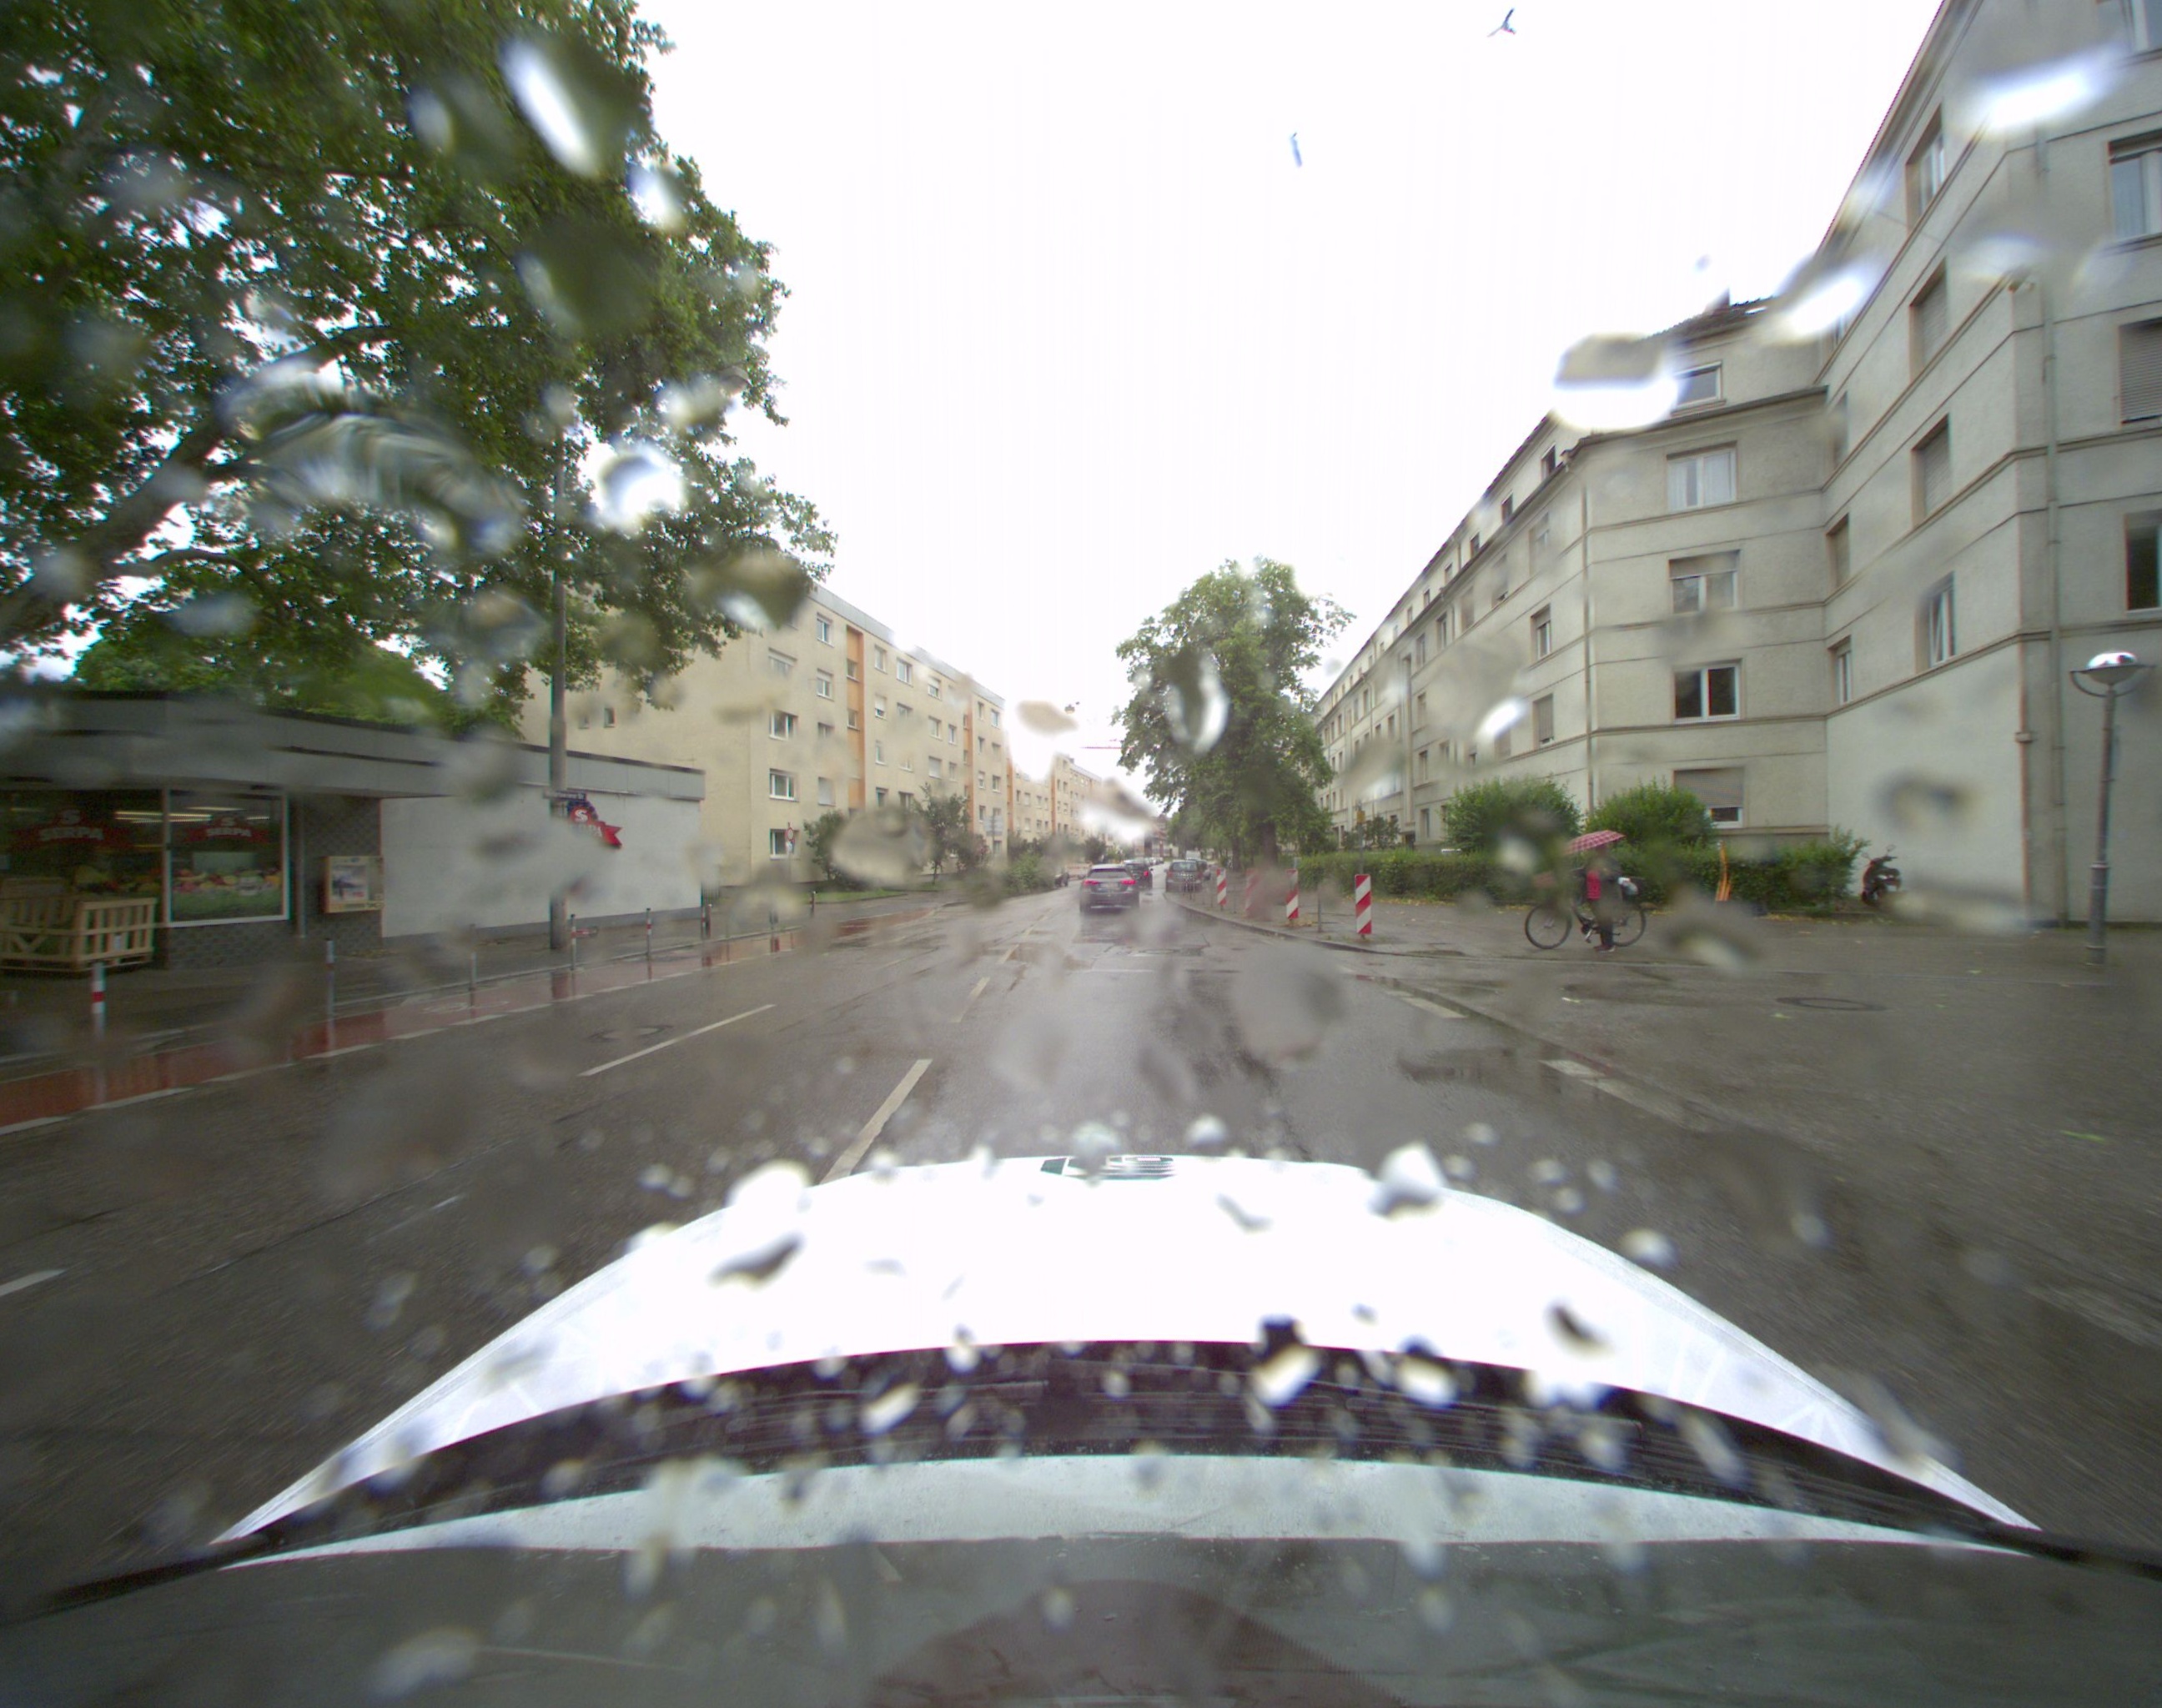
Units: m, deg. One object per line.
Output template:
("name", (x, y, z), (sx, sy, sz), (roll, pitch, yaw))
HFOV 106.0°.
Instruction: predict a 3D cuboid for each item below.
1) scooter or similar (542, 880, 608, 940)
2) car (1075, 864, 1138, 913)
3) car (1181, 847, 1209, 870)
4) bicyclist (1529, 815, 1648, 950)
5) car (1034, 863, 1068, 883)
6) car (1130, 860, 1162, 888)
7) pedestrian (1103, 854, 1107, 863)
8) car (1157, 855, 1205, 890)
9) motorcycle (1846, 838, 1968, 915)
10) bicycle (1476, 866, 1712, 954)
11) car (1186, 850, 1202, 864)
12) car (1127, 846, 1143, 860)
("scooter or similar", (-11.437, 1.254, 18.453), (0.435, 1.266, 1.379), (-1, -1, 11))
("car", (0.844, 1.018, 25.279), (1.783, 1.372, 3.511), (0, 0, 4))
("car", (8.420, 0.339, 60.081), (1.879, 1.574, 4.009), (-1, -1, 8))
("bicyclist", (7.439, 0.397, 11.988), (0.940, 1.868, 1.137), (-1, 0, -14))
("car", (-1.945, 1.235, 54.149), (1.580, 1.206, 3.468), (-1, -1, 9))
("car", (3.467, 1.043, 43.768), (1.600, 1.372, 4.005), (-2, 0, 4))
("pedestrian", (3.562, 0.697, 120.804), (0.525, 1.357, 0.587), (0, -1, 12))
("car", (4.703, 0.859, 38.826), (1.985, 1.574, 4.003), (-1, -1, 3))
("motorcycle", (16.292, 0.402, 16.176), (0.867, 1.392, 3.023), (-2, -1, 29))
("bicycle", (7.594, 0.778, 12.084), (3.211, 1.112, 1.049), (-1, 0, -15))
("car", (14.762, 0.419, 106.522), (2.035, 1.836, 4.803), (-1, -1, 8))
("car", (7.603, -0.151, 114.495), (1.879, 1.836, 4.009), (-1, -1, 8))
